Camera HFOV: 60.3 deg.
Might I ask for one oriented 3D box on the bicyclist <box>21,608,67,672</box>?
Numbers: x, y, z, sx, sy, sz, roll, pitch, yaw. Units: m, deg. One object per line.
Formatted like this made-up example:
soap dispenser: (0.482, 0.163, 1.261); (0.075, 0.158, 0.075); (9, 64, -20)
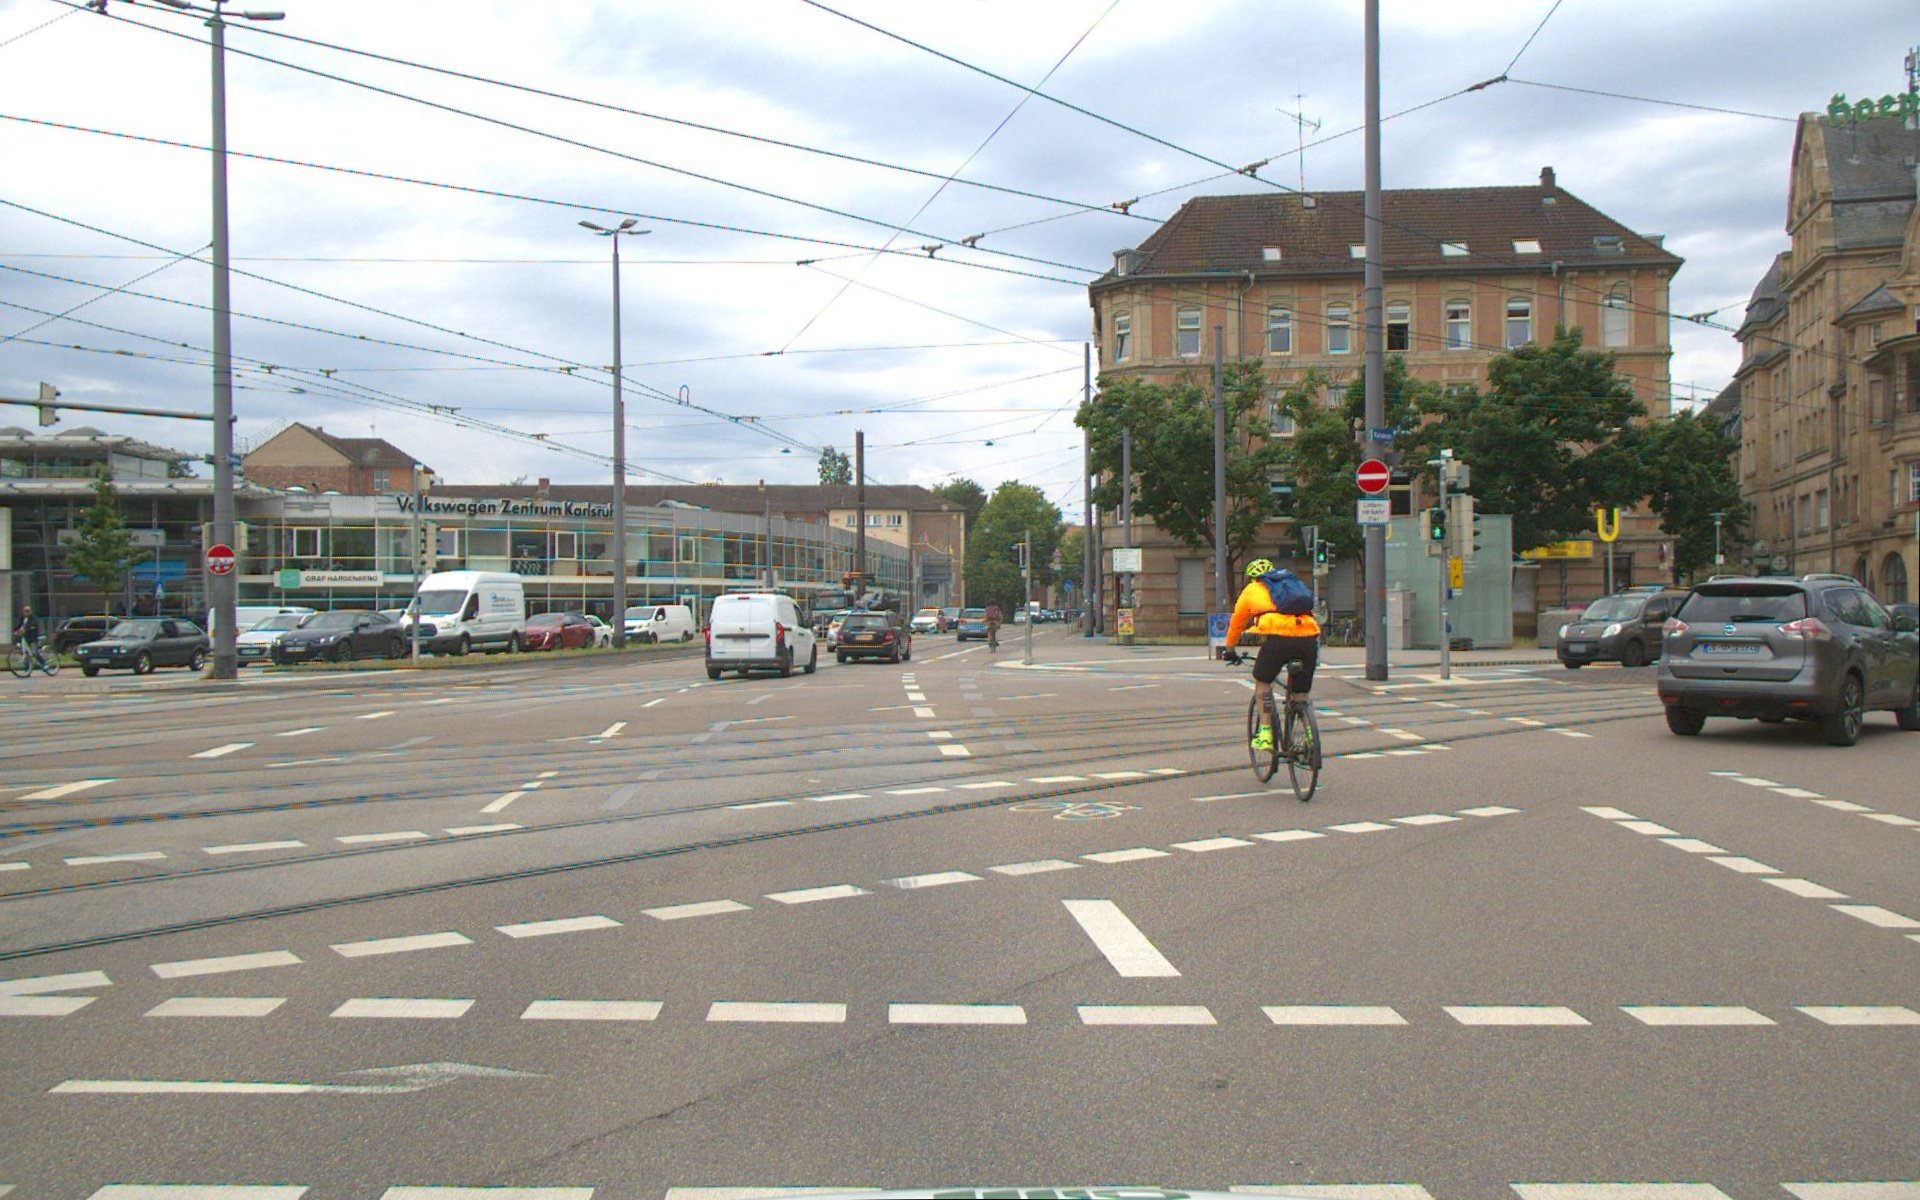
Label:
bicyclist: (-22.522, 0.982, 40.670); (0.553, 1.534, 0.857); (-1, 1, 11)

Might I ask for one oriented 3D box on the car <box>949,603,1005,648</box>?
car: (0.834, 1.202, 78.558); (1.951, 2.049, 4.003); (0, -1, 11)

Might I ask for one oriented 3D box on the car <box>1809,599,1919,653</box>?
car: (27.946, 0.779, 50.430); (4.250, 1.561, 1.847); (0, -2, -34)

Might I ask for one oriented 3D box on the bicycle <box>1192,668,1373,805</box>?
bicycle: (2.359, 0.973, 12.366); (0.546, 0.863, 2.067); (0, -1, -12)

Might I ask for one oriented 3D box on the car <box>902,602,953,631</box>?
car: (-2.071, 1.060, 107.662); (1.952, 1.871, 4.525); (-1, 0, 18)

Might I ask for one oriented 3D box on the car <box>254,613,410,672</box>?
car: (-16.529, 1.090, 43.772); (1.951, 1.445, 4.665); (0, 0, 6)

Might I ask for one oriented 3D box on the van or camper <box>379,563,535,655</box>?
van or camper: (-15.451, 0.294, 51.241); (2.364, 2.657, 6.056); (0, -1, 7)

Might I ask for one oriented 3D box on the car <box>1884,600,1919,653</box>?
car: (27.782, 0.727, 46.435); (3.953, 1.467, 1.674); (0, -1, -35)

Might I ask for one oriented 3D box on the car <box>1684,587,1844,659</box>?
car: (22.931, 0.623, 47.128); (5.039, 1.949, 1.847); (0, -1, -34)

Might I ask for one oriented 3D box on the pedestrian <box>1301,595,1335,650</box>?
pedestrian: (11.590, 0.738, 53.611); (0.893, 1.758, 0.600); (0, -1, -13)

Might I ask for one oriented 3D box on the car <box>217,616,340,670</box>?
car: (-19.016, 1.172, 46.299); (1.600, 1.445, 3.740); (0, 0, 6)

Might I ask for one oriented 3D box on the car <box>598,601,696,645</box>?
car: (-13.953, 1.024, 74.079); (2.111, 1.889, 5.451); (-1, 0, 16)

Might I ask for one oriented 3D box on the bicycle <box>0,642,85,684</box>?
bicycle: (-22.530, 1.528, 40.654); (0.507, 0.942, 2.225); (-1, 0, 10)

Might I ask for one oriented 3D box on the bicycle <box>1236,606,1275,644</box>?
bicycle: (11.116, 0.942, 62.206); (0.938, 1.378, 3.121); (0, -1, 20)

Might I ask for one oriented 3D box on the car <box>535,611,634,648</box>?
car: (-15.332, 1.179, 67.826); (1.951, 1.445, 4.753); (-1, 0, 16)

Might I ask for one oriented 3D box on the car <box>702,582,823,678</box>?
car: (-4.297, 0.640, 36.526); (1.872, 1.974, 4.133); (0, 0, 4)

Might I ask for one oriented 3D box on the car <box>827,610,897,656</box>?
car: (-3.413, 1.152, 58.241); (1.814, 1.534, 4.002); (0, -1, 6)

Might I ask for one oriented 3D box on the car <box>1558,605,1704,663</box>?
car: (17.471, 0.860, 43.024); (3.953, 1.467, 1.674); (0, -1, -35)

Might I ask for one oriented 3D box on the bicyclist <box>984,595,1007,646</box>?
bicyclist: (1.215, 0.708, 56.969); (0.674, 1.738, 0.797); (-1, -1, -5)

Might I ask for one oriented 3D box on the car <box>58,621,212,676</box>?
car: (-20.355, 1.167, 40.972); (1.650, 1.269, 3.740); (0, 0, 6)

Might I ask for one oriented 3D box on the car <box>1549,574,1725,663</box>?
car: (15.575, 0.425, 37.970); (4.335, 1.934, 1.674); (0, -1, -35)

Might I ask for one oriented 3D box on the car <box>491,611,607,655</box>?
car: (-14.330, 1.125, 57.930); (1.951, 1.445, 4.805); (-1, 0, 13)

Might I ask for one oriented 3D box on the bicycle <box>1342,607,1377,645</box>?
bicycle: (14.913, 0.973, 61.681); (0.938, 1.378, 3.121); (0, -1, 20)

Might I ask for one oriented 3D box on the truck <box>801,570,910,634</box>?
truck: (-6.062, 0.179, 97.698); (2.736, 3.611, 9.223); (0, -1, 21)

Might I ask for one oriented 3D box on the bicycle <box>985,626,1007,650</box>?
bicycle: (1.233, 1.295, 56.982); (0.607, 0.807, 1.590); (-1, 0, -5)

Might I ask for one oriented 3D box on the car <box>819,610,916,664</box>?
car: (-2.542, 1.005, 46.527); (1.951, 1.445, 4.003); (-1, 0, 8)

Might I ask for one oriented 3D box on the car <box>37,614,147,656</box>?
car: (-31.271, 1.238, 59.718); (1.600, 1.445, 3.741); (-1, 0, 9)

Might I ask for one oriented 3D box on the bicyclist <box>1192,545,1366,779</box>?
bicyclist: (2.361, 0.440, 12.402); (0.812, 1.649, 1.317); (0, -1, -12)

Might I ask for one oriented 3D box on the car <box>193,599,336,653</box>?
car: (-27.073, 1.008, 64.478); (4.664, 2.049, 2.122); (0, -1, 6)

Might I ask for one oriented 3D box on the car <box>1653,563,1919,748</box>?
car: (9.144, 0.525, 17.993); (1.725, 1.786, 3.898); (0, 0, 43)

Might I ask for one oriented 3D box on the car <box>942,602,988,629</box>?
car: (0.383, 1.084, 115.862); (1.952, 1.871, 4.525); (-1, 0, 18)

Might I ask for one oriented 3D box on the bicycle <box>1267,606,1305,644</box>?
bicycle: (12.220, 0.950, 61.933); (0.938, 1.378, 3.121); (0, -1, 20)

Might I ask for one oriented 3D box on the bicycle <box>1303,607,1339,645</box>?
bicycle: (13.470, 0.958, 61.644); (0.938, 1.378, 3.121); (0, -1, 20)
